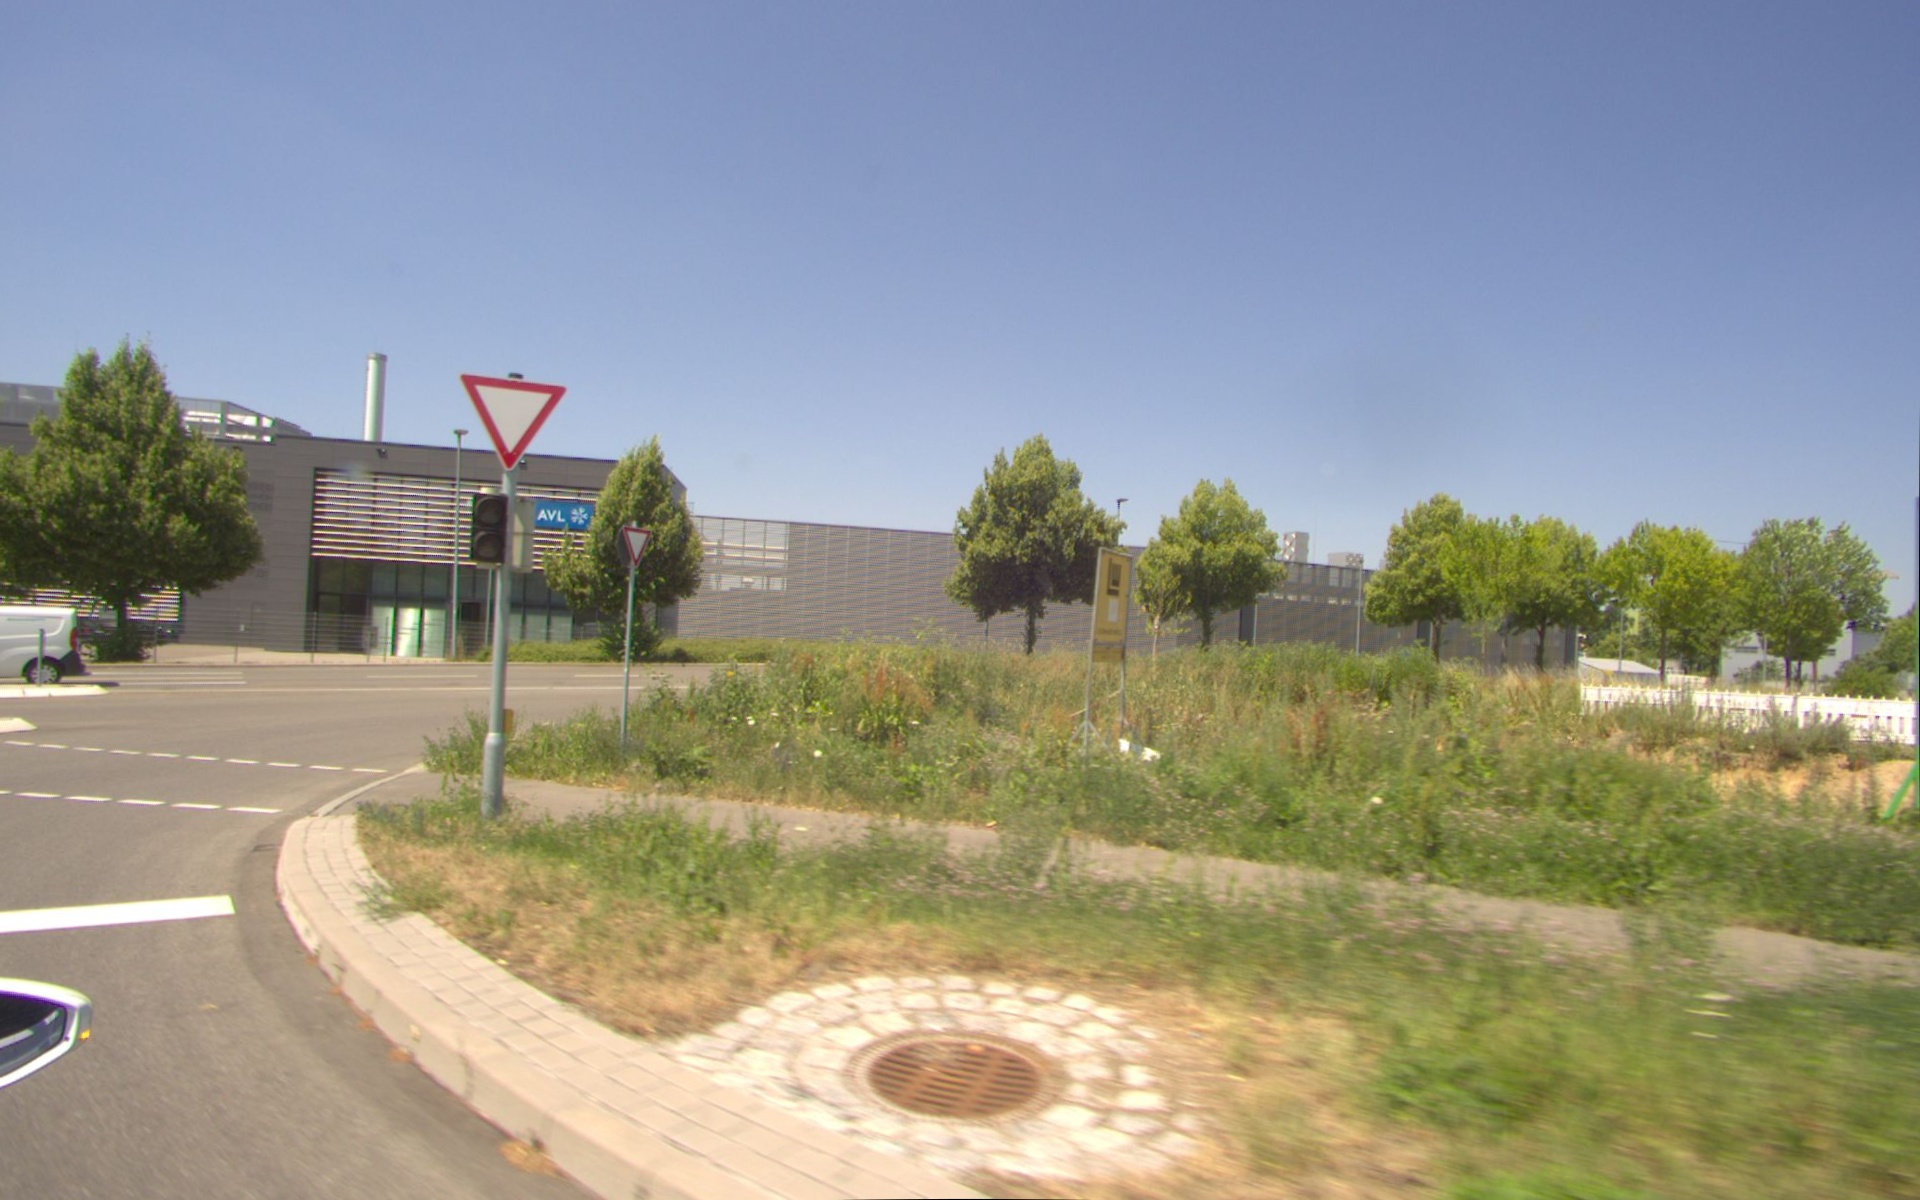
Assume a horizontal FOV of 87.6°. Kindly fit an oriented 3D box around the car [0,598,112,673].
[{"bbox_3d":[-24.961,0.911,26.448,3.827,1.729,1.980,5,1,-42],"label":"car"}]

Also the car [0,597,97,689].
[{"bbox_3d":[-23.152,0.944,23.100,4.824,1.968,1.980,5,1,-42],"label":"car"}]

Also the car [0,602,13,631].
[{"bbox_3d":[-52.504,0.855,52.877,1.786,1.548,3.998,0,-2,-12],"label":"car"}]

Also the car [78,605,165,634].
[{"bbox_3d":[-45.325,1.089,54.264,1.963,1.505,3.998,0,-2,-12],"label":"car"}]
